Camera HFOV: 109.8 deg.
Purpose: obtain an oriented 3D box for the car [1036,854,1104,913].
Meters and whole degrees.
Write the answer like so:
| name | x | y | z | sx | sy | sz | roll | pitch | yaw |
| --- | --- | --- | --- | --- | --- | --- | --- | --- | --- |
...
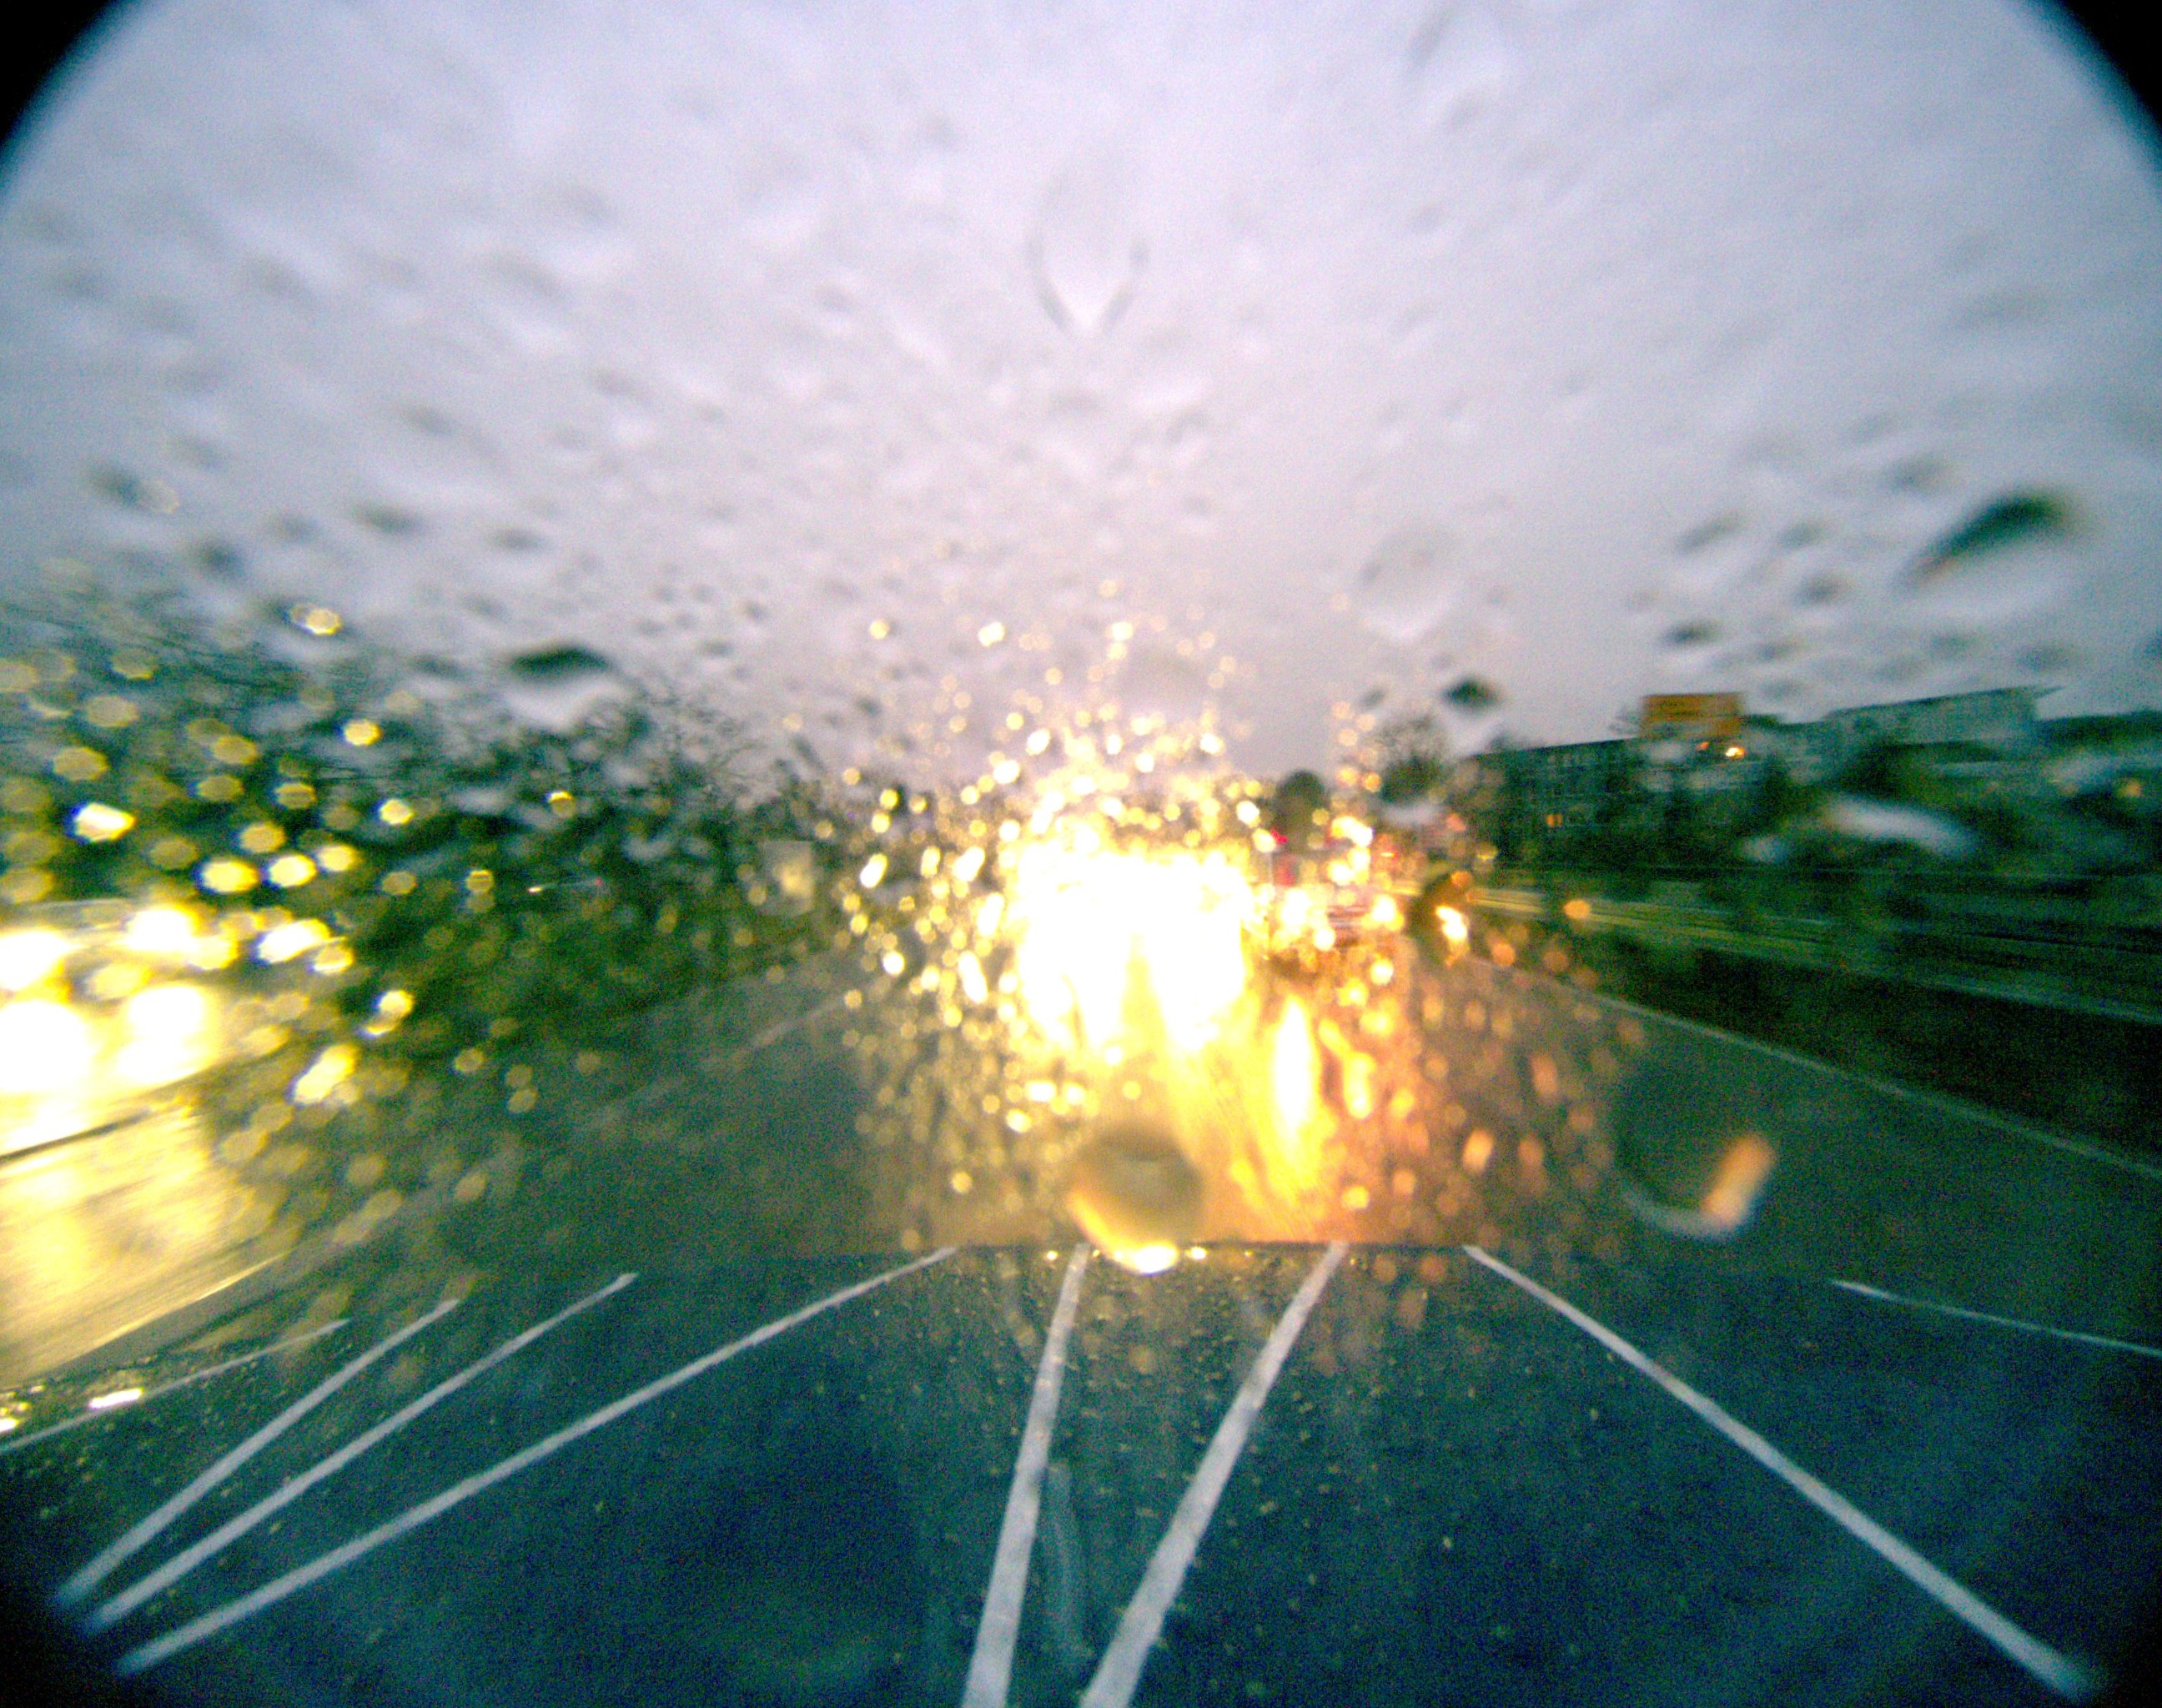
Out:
| name | x | y | z | sx | sy | sz | roll | pitch | yaw |
| --- | --- | --- | --- | --- | --- | --- | --- | --- | --- |
| car | -0.236 | 0.811 | 22.670 | 1.830 | 1.524 | 4.000 | -1 | 1 | 2 |

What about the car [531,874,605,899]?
| name | x | y | z | sx | sy | sz | roll | pitch | yaw |
| --- | --- | --- | --- | --- | --- | --- | --- | --- | --- |
| car | -34.261 | 2.146 | 50.766 | 1.724 | 1.426 | 3.798 | 0 | 1 | 44 |

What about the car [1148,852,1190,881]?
| name | x | y | z | sx | sy | sz | roll | pitch | yaw |
| --- | --- | --- | --- | --- | --- | --- | --- | --- | --- |
| car | 4.498 | 0.621 | 39.240 | 1.697 | 1.327 | 3.999 | -2 | 1 | 0 |

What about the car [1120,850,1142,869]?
| name | x | y | z | sx | sy | sz | roll | pitch | yaw |
| --- | --- | --- | --- | --- | --- | --- | --- | --- | --- |
| car | 4.744 | 0.513 | 72.593 | 1.852 | 1.610 | 3.951 | -2 | 1 | 1 |

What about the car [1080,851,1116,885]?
| name | x | y | z | sx | sy | sz | roll | pitch | yaw |
| --- | --- | --- | --- | --- | --- | --- | --- | --- | --- |
| car | 0.915 | 0.686 | 38.562 | 1.728 | 1.573 | 3.791 | -1 | 1 | 3 |

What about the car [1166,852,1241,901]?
| name | x | y | z | sx | sy | sz | roll | pitch | yaw |
| --- | --- | --- | --- | --- | --- | --- | --- | --- | --- |
| car | 4.150 | 0.716 | 26.315 | 2.026 | 1.521 | 4.145 | -1 | 1 | 2 |

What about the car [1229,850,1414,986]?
| name | x | y | z | sx | sy | sz | roll | pitch | yaw |
| --- | --- | --- | --- | --- | --- | --- | --- | --- | --- |
| car | 3.283 | 0.766 | 11.213 | 1.765 | 1.590 | 4.166 | -1 | 1 | 5 |

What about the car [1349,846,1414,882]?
| name | x | y | z | sx | sy | sz | roll | pitch | yaw |
| --- | --- | --- | --- | --- | --- | --- | --- | --- | --- |
| car | 16.995 | 0.523 | 43.207 | 1.998 | 1.907 | 4.287 | -2 | 0 | 1 |

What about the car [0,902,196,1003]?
| name | x | y | z | sx | sy | sz | roll | pitch | yaw |
| --- | --- | --- | --- | --- | --- | --- | --- | --- | --- |
| car | -17.730 | 1.658 | 13.835 | 4.384 | 1.351 | 1.939 | -2 | 0 | 42 |
